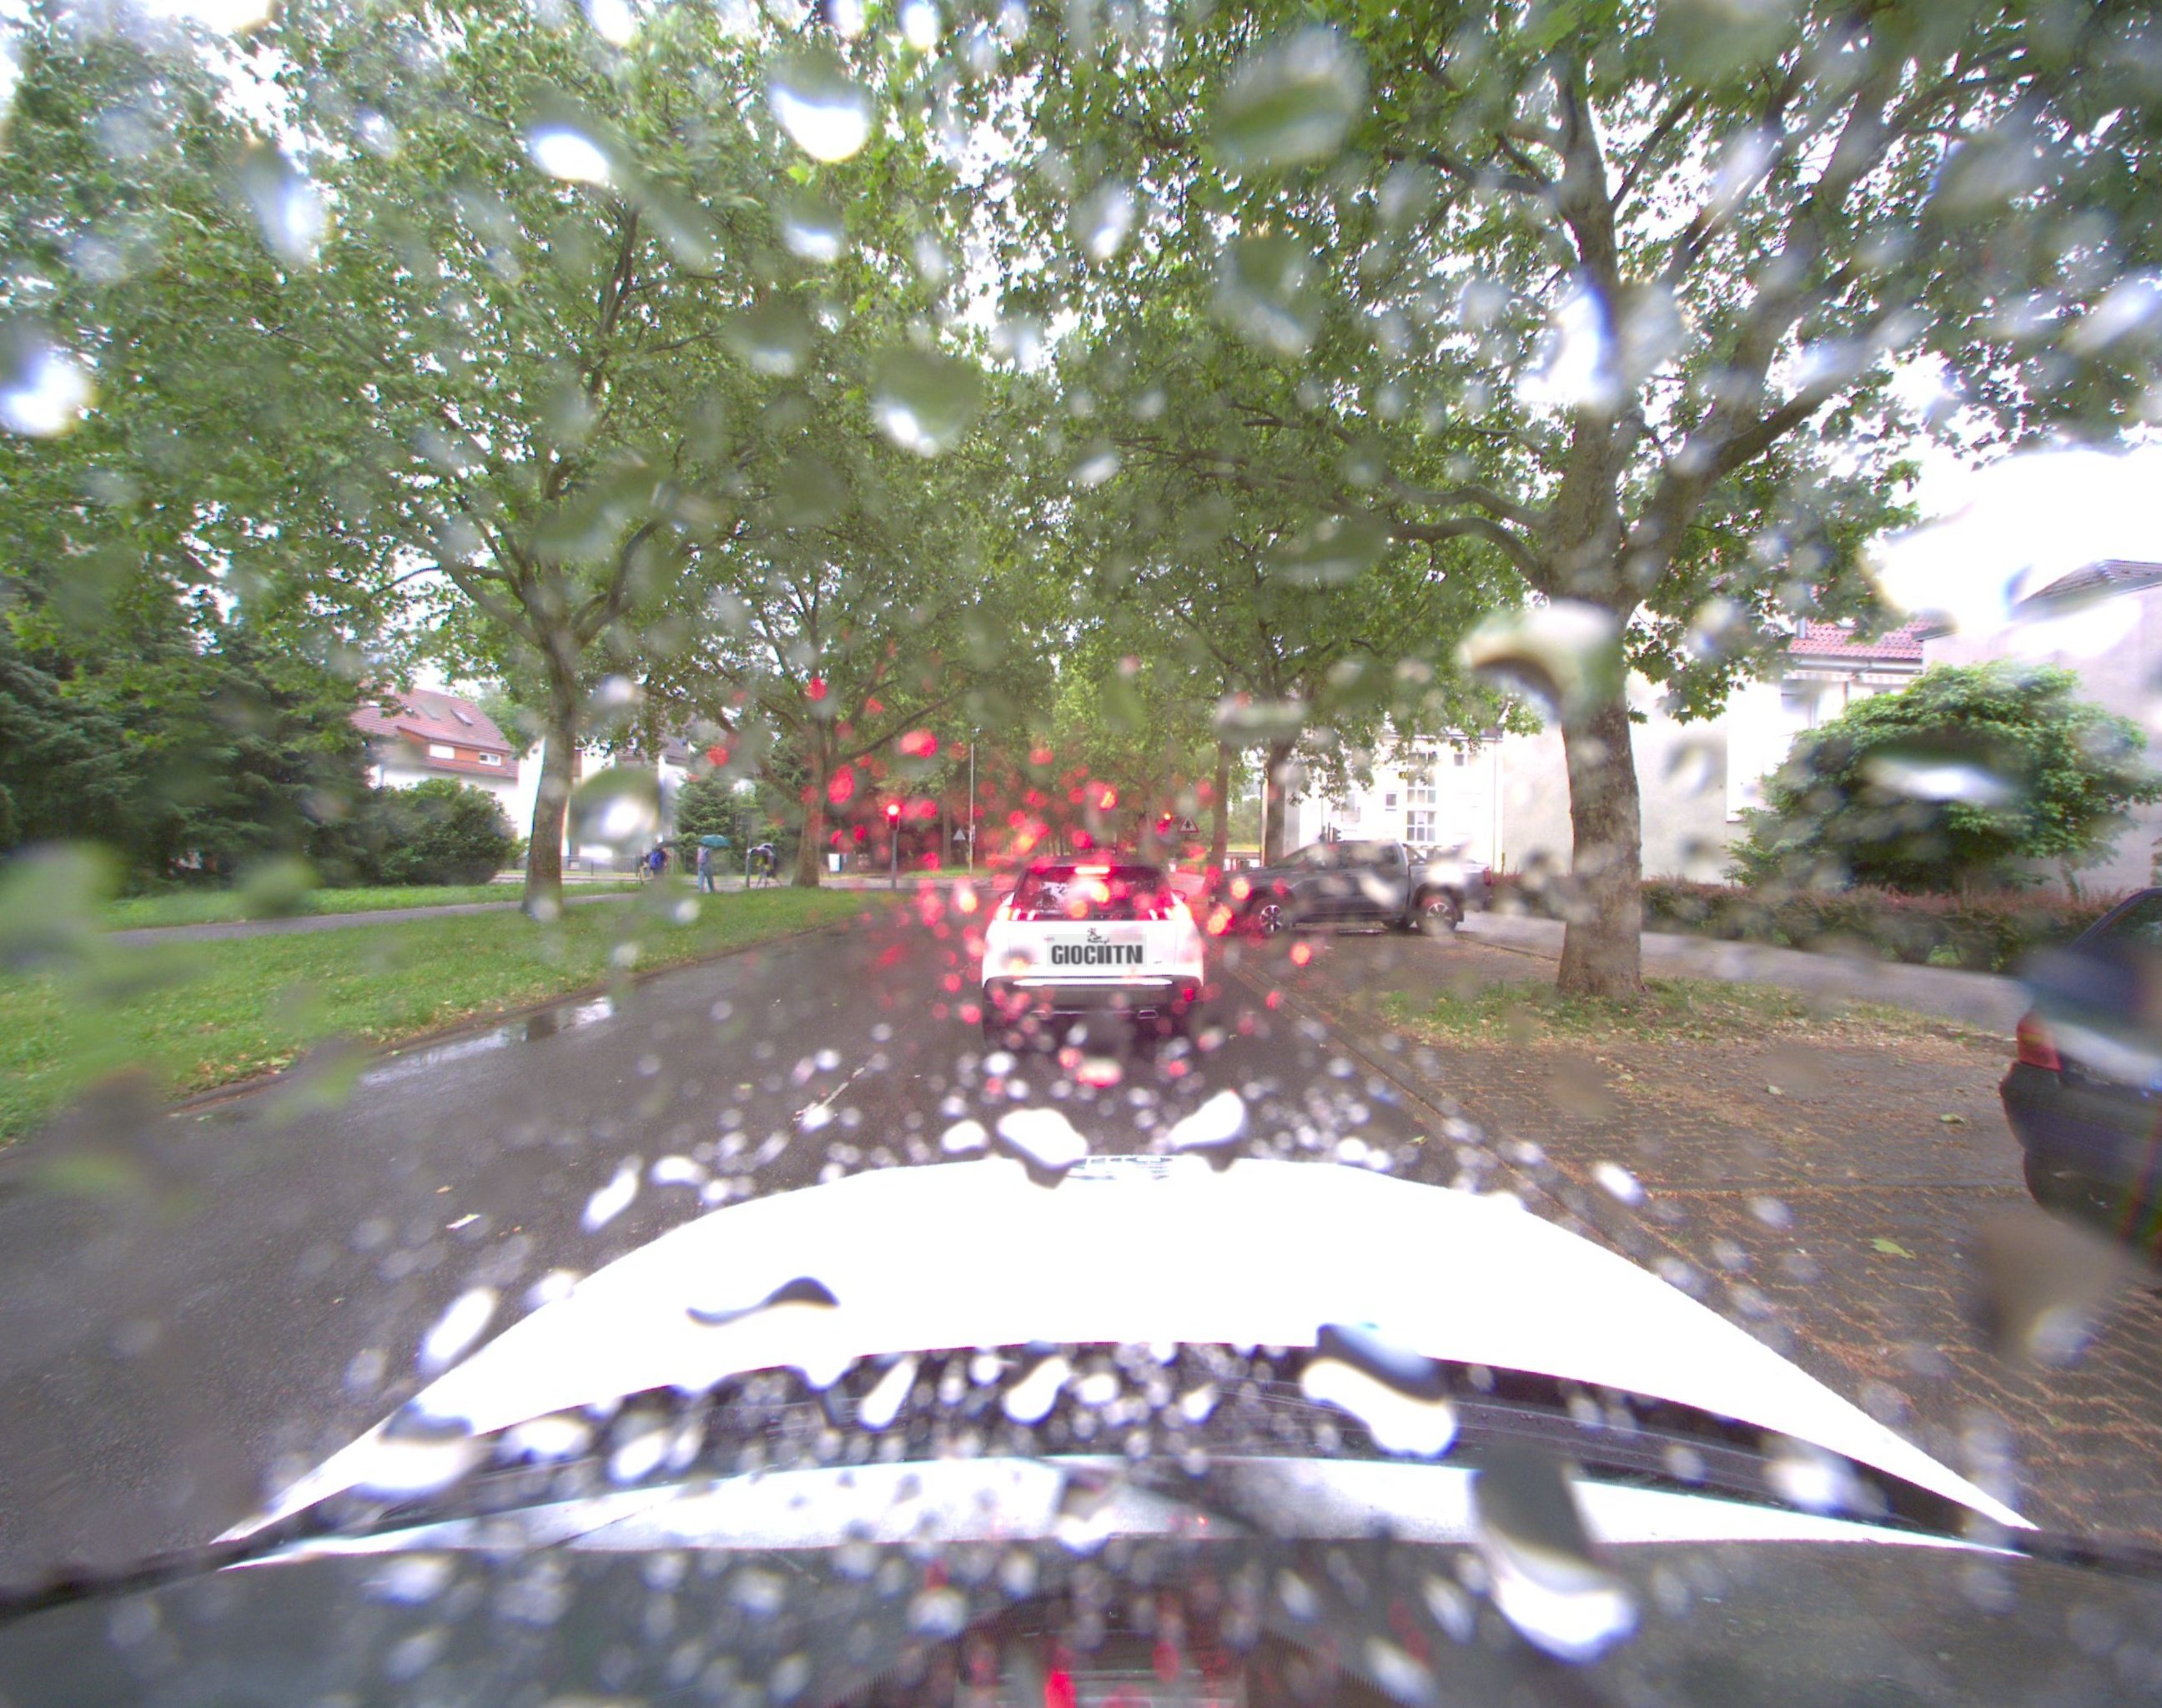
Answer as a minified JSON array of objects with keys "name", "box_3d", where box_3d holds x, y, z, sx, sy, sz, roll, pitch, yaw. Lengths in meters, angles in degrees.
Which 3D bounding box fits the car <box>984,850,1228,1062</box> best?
[{"name":"car","box_3d":[0.234,0.733,7.952,1.774,1.536,4.059,0,0,1]}]

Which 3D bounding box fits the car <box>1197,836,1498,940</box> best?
[{"name":"car","box_3d":[5.114,0.607,15.975,5.330,1.806,1.842,-1,0,-6]}]

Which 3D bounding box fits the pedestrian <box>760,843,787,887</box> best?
[{"name":"pedestrian","box_3d":[-12.503,0.434,33.142,0.856,1.744,0.639,1,0,-2]}]

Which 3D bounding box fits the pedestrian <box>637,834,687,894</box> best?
[{"name":"pedestrian","box_3d":[-12.745,0.293,24.772,1.026,1.765,0.882,0,0,10]}]

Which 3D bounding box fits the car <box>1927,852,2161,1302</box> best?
[{"name":"car","box_3d":[5.188,0.731,2.596,3.344,1.464,1.618,0,0,0]}]

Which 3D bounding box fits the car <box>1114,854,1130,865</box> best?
[{"name":"car","box_3d":[5.654,0.764,111.896,1.901,1.510,3.928,1,0,-2]}]

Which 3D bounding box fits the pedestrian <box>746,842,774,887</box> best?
[{"name":"pedestrian","box_3d":[-12.519,0.407,31.742,0.818,1.744,0.639,1,0,-2]}]

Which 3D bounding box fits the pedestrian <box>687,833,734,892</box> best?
[{"name":"pedestrian","box_3d":[-11.256,0.265,24.799,1.029,1.765,0.838,0,0,1]}]
